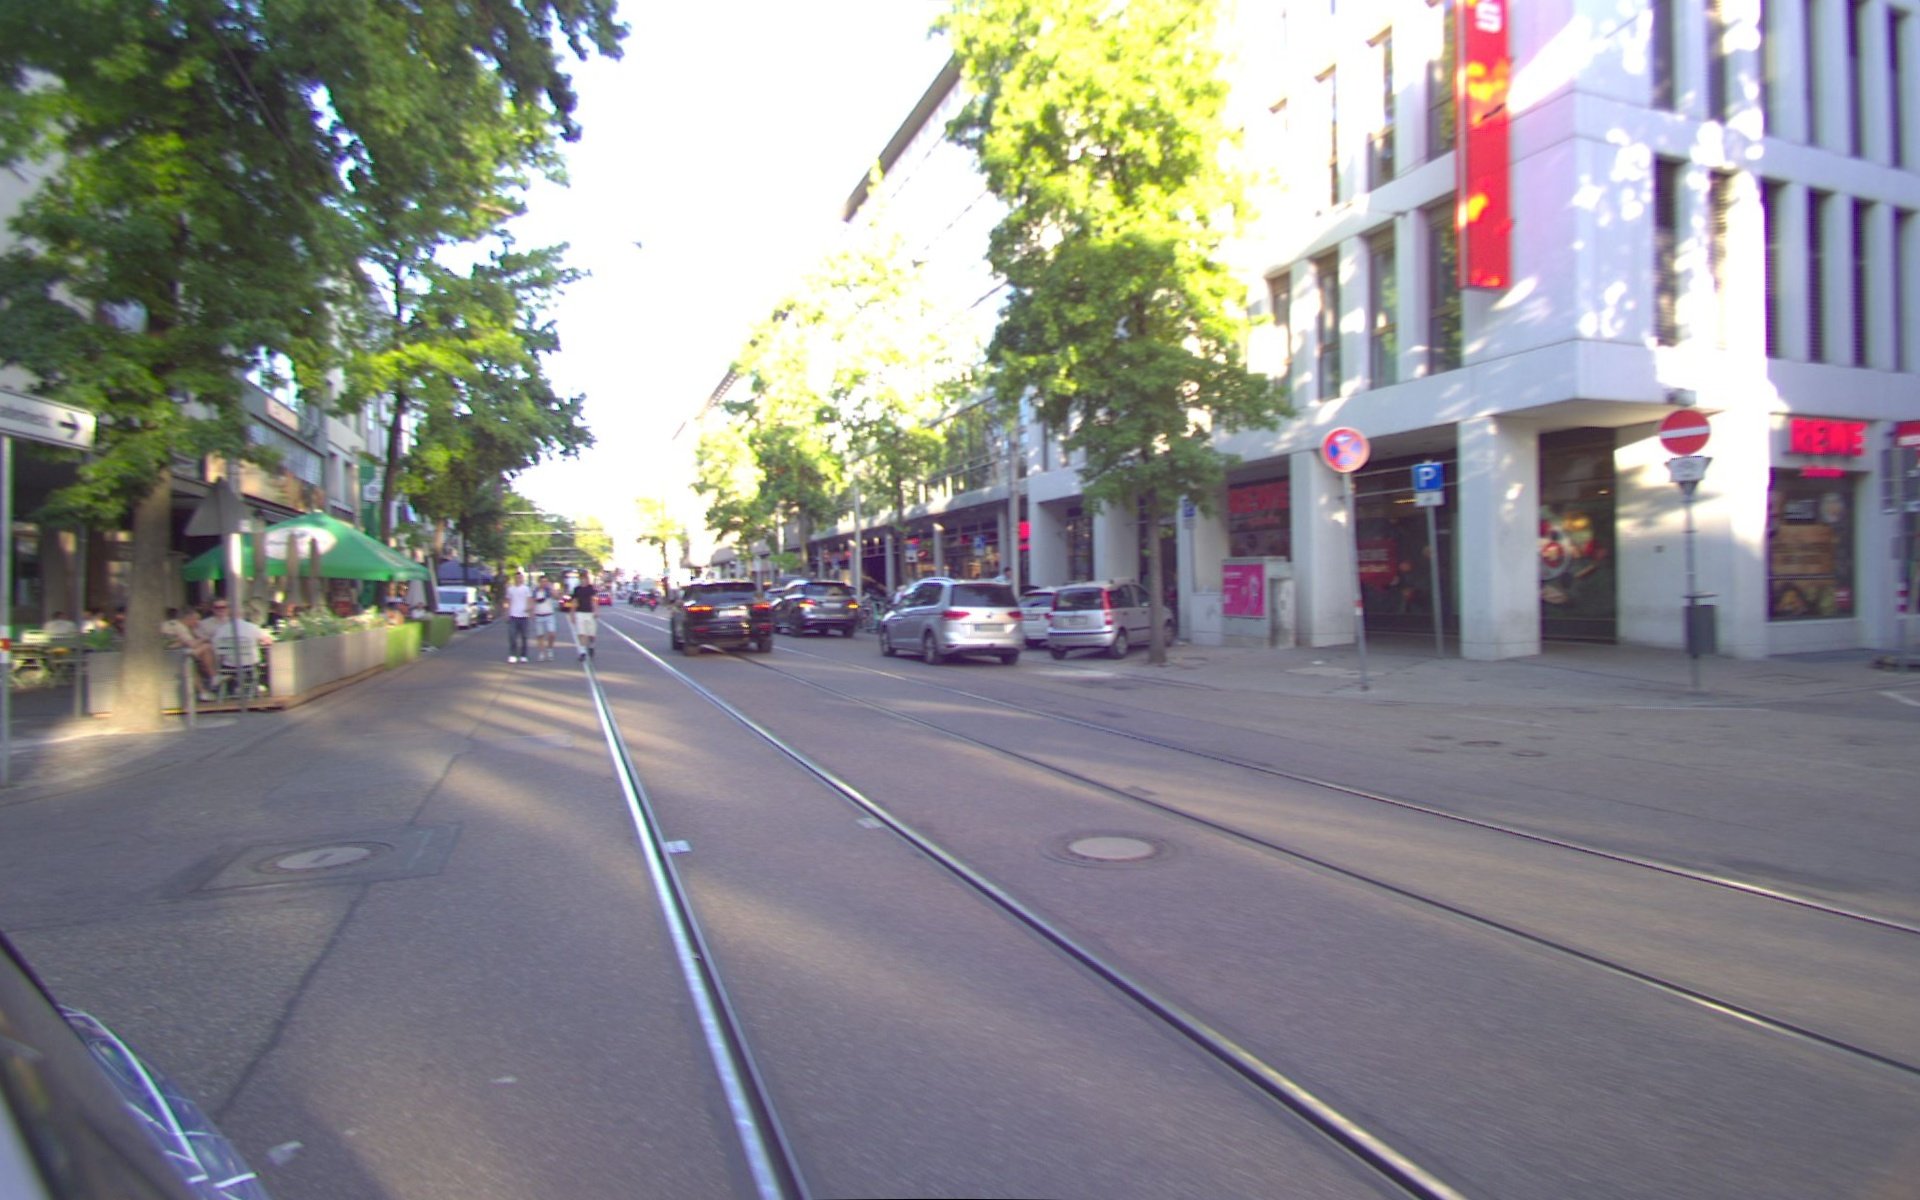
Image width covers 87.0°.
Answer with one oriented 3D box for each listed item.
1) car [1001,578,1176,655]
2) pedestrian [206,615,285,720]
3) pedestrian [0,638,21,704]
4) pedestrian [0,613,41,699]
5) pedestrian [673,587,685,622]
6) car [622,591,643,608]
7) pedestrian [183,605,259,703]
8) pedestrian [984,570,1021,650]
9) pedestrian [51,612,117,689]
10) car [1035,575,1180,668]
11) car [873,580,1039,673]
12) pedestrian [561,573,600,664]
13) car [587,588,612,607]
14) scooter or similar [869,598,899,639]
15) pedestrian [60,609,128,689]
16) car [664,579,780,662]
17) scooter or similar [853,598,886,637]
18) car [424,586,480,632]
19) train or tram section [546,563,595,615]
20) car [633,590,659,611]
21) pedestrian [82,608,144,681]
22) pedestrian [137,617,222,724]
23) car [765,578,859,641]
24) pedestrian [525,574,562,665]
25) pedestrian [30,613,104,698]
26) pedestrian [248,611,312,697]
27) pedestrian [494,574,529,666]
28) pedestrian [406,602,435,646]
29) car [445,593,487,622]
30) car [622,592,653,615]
[{"bbox_3d":[3.125,0.334,24.103,4.251,1.422,1.581,-6,4,-39],"label":"car"},{"bbox_3d":[-9.651,0.894,13.692,0.705,1.339,0.626,-1,0,-20],"label":"pedestrian"},{"bbox_3d":[-14.368,1.052,14.809,0.705,0.939,0.626,-1,0,-20],"label":"pedestrian"},{"bbox_3d":[-15.370,0.894,16.241,0.705,1.339,0.626,-1,0,-20],"label":"pedestrian"},{"bbox_3d":[-17.614,0.282,63.405,0.617,2.200,0.766,-1,0,-24],"label":"pedestrian"},{"bbox_3d":[-38.196,-0.012,118.035,1.965,1.896,4.013,-1,1,-22],"label":"car"},{"bbox_3d":[-10.565,0.747,14.486,0.705,1.339,0.626,-1,0,-20],"label":"pedestrian"},{"bbox_3d":[1.059,0.239,25.284,0.645,1.947,0.725,-1,0,-19],"label":"pedestrian"},{"bbox_3d":[-15.887,0.901,18.364,0.705,1.339,0.626,-1,0,-20],"label":"pedestrian"},{"bbox_3d":[3.119,0.388,20.934,1.783,1.571,3.366,-2,3,31],"label":"car"},{"bbox_3d":[-0.210,0.467,19.996,1.858,1.624,4.214,0,0,-21],"label":"car"},{"bbox_3d":[-8.366,0.390,22.338,0.760,1.947,0.876,-1,0,-19],"label":"pedestrian"},{"bbox_3d":[-38.097,-0.306,106.841,2.181,1.873,4.013,-2,1,-23],"label":"car"},{"bbox_3d":[-2.421,0.561,32.162,0.534,1.257,1.688,-1,0,-19],"label":"scooter or similar"},{"bbox_3d":[-15.136,0.841,17.706,0.705,1.339,0.626,-1,0,-20],"label":"pedestrian"},{"bbox_3d":[-5.639,0.421,23.618,2.005,1.699,4.214,-2,1,-21],"label":"car"},{"bbox_3d":[-3.047,0.558,33.910,0.570,1.257,2.132,-1,1,-19],"label":"scooter or similar"},{"bbox_3d":[-22.062,0.338,44.105,1.969,1.856,4.984,1,1,-24],"label":"car"},{"bbox_3d":[-33.441,-0.892,86.887,3.547,4.028,15.767,-1,1,-21],"label":"train or tram section"},{"bbox_3d":[-29.992,0.013,96.474,1.965,1.896,4.013,-1,1,-22],"label":"car"},{"bbox_3d":[-16.137,0.838,19.291,0.705,1.339,0.626,-1,0,-20],"label":"pedestrian"},{"bbox_3d":[-10.332,0.912,13.424,0.705,1.339,0.626,-1,0,-20],"label":"pedestrian"},{"bbox_3d":[-4.739,0.263,31.881,2.005,1.820,4.214,0,0,-21],"label":"car"},{"bbox_3d":[-9.166,0.409,22.313,0.661,1.947,0.876,-1,0,-19],"label":"pedestrian"},{"bbox_3d":[-14.576,0.889,16.540,0.705,1.339,0.626,-1,0,-20],"label":"pedestrian"},{"bbox_3d":[-11.017,0.860,16.405,0.705,1.339,0.626,-1,0,-20],"label":"pedestrian"},{"bbox_3d":[-9.697,0.425,21.910,0.588,1.947,0.876,-1,0,-19],"label":"pedestrian"},{"bbox_3d":[-17.032,0.745,31.939,0.705,1.339,0.626,-1,0,-20],"label":"pedestrian"},{"bbox_3d":[-24.405,0.366,50.057,1.686,1.335,3.606,-1,1,-24],"label":"car"},{"bbox_3d":[-23.375,0.238,73.328,1.686,1.608,4.013,-1,1,-24],"label":"car"}]
